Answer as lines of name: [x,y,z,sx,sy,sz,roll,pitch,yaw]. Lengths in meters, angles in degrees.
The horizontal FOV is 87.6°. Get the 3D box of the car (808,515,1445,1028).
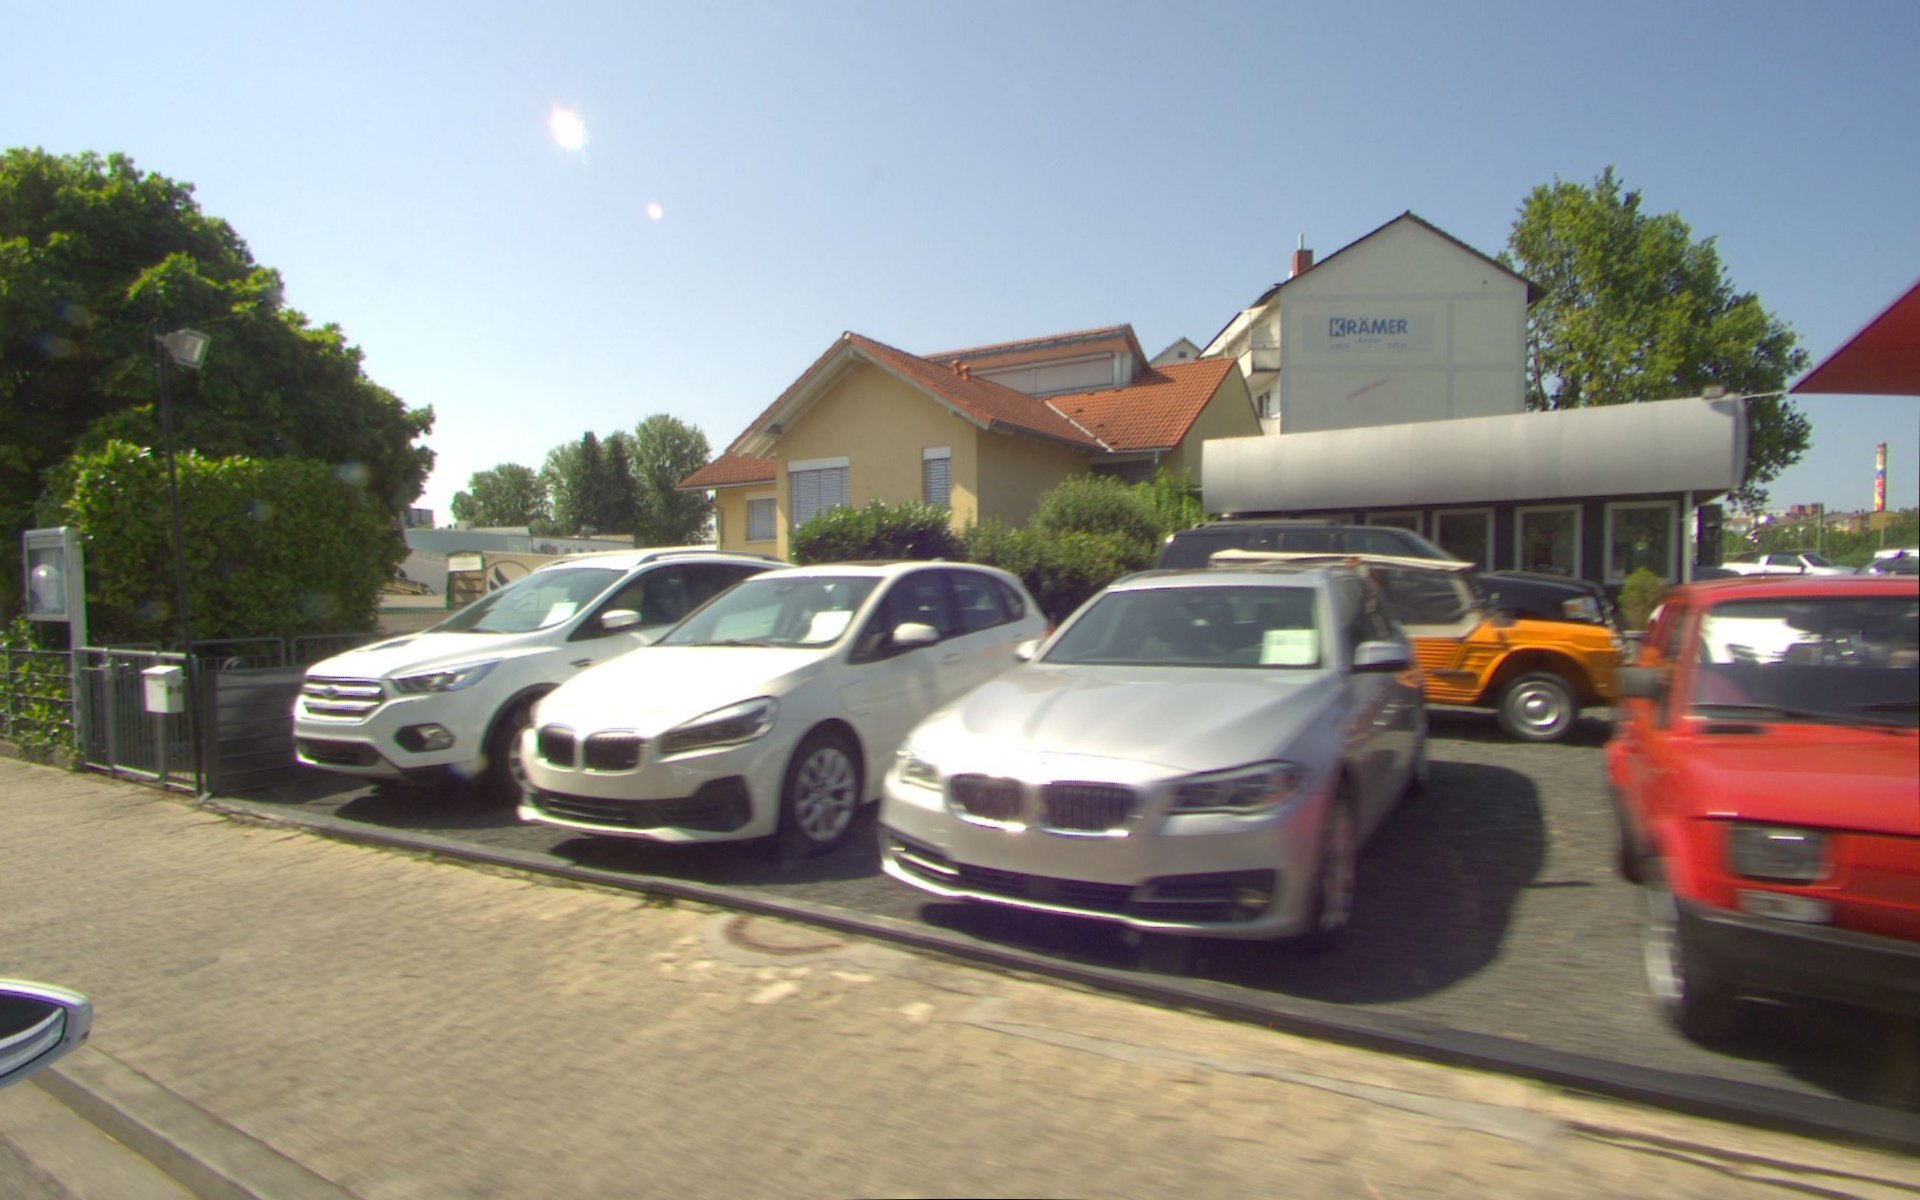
car: [1.337,0.484,5.326,1.869,1.517,4.394,-1,1,31]

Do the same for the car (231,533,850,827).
car: [-2.922,0.433,8.067,1.816,1.676,4.396,-1,1,29]

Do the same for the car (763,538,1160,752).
car: [-0.005,0.451,10.666,3.734,1.884,1.990,-2,-1,31]

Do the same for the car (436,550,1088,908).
car: [-0.853,0.498,6.761,1.869,1.549,4.394,-1,2,29]

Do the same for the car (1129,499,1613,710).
car: [4.631,0.065,11.716,4.831,2.041,1.991,-1,2,28]

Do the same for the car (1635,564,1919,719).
car: [8.894,0.310,10.890,1.918,1.336,4.114,-1,2,25]

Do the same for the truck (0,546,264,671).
truck: [-26.345,0.351,30.995,2.490,3.466,7.507,0,-2,32]

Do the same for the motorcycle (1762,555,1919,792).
motorcycle: [6.758,0.418,7.023,0.993,1.452,2.683,-1,1,21]

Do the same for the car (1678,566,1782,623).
car: [20.317,-0.184,26.554,1.731,1.399,3.472,1,2,30]

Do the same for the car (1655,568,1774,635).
car: [17.081,-0.019,22.838,1.731,1.399,3.472,1,2,30]

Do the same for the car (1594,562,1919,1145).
car: [3.348,0.546,3.704,1.535,1.353,3.543,-1,1,30]

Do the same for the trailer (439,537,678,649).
trailer: [-15.490,-0.312,39.390,3.028,3.915,8.302,0,1,37]

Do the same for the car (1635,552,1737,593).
car: [31.630,-1.148,43.758,1.962,1.662,3.998,-1,0,8]

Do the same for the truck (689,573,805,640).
truck: [-11.374,0.273,53.939,2.887,3.408,5.665,0,2,35]

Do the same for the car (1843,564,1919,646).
car: [18.536,0.042,19.233,1.900,1.462,4.304,-1,1,35]

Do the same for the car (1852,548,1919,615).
car: [25.025,-0.479,24.820,1.699,1.662,4.033,-2,1,-29]

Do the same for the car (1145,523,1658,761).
car: [3.941,0.324,9.232,3.942,1.751,1.989,-1,1,31]

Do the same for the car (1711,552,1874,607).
car: [26.710,-0.635,32.242,1.699,1.662,3.709,-2,1,-29]

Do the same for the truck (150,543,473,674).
truck: [-20.552,0.211,32.380,2.913,3.659,8.252,0,1,34]
